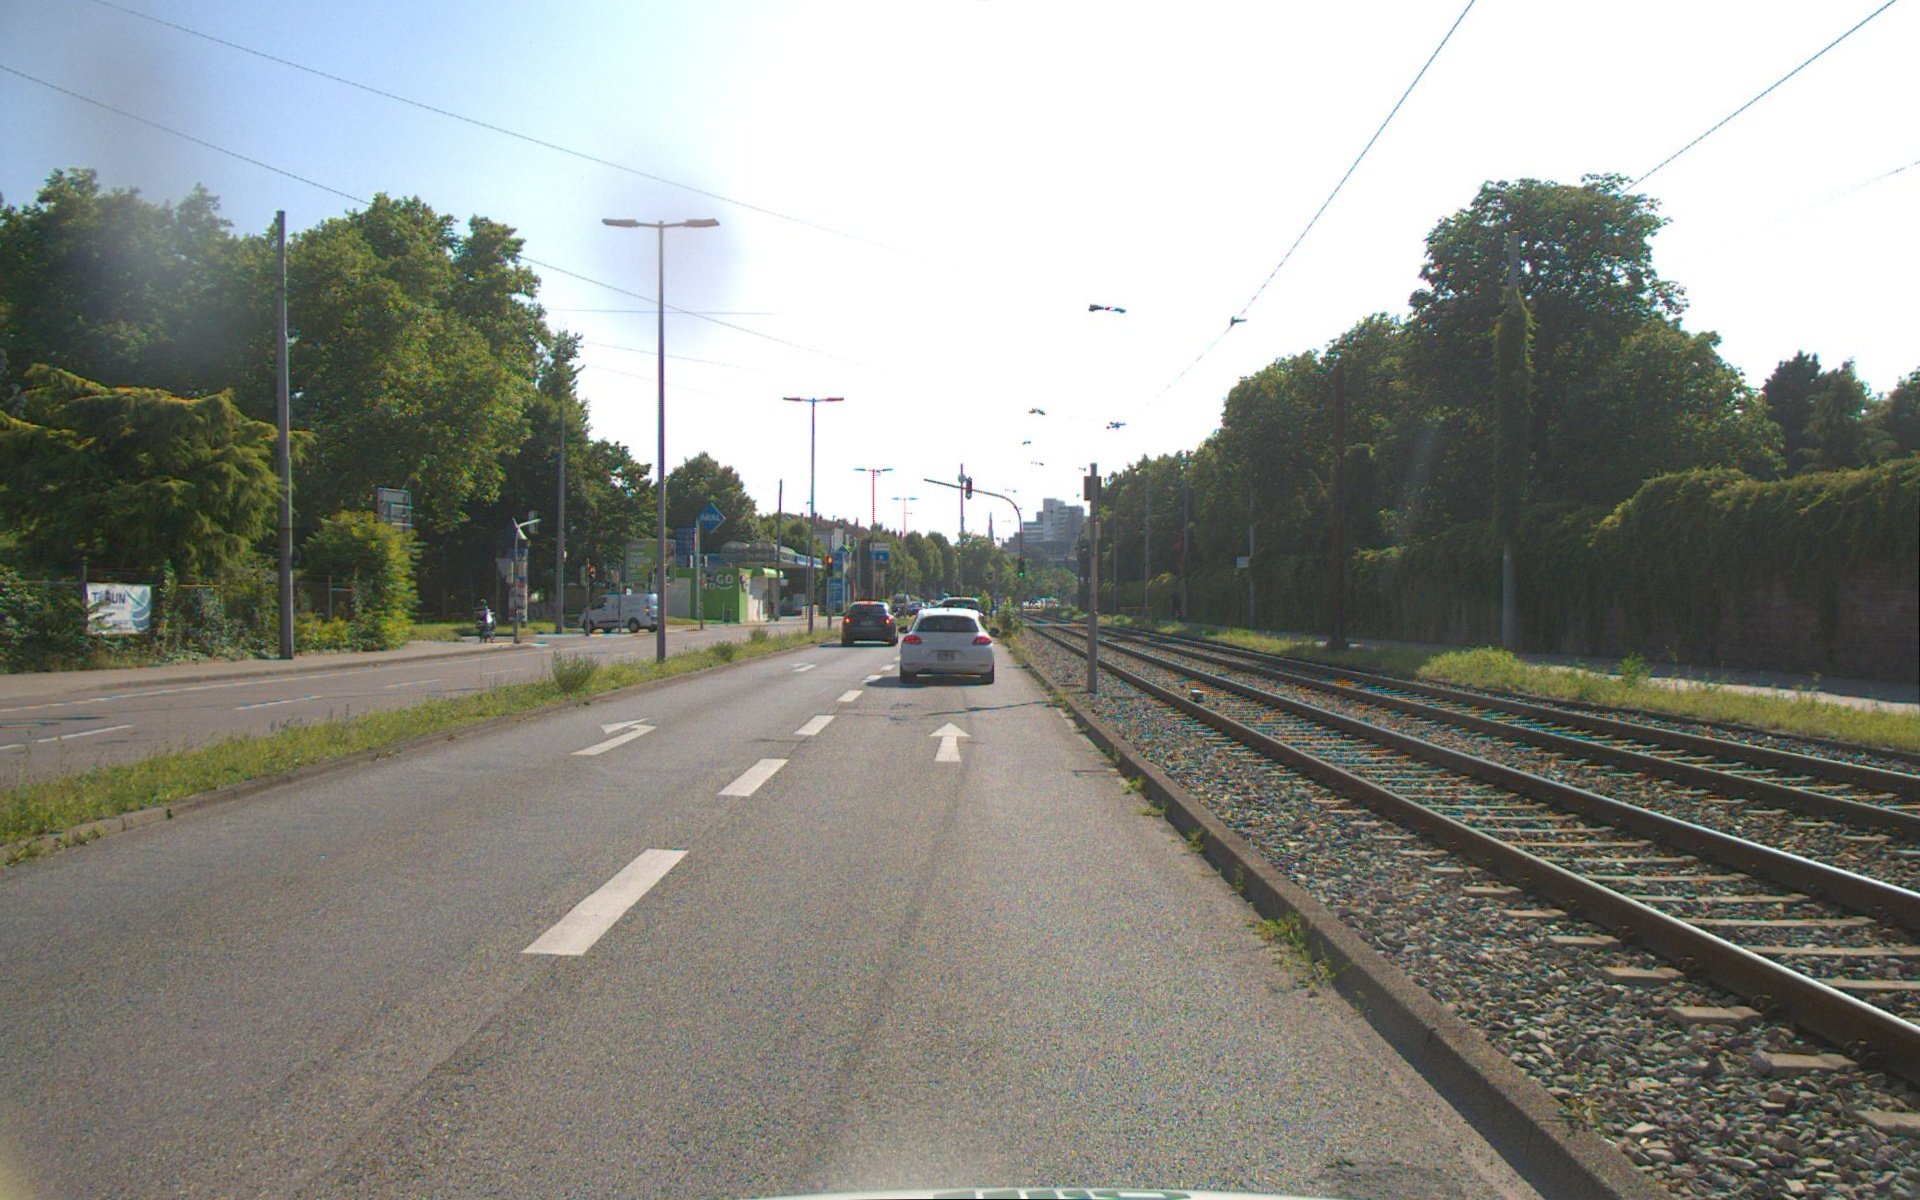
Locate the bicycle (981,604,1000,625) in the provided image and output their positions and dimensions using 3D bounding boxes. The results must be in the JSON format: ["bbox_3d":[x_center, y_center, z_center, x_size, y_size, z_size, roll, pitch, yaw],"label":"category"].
[{"bbox_3d":[1.741,0.847,94.919,0.629,1.174,1.938,-1,0,15],"label":"bicycle"}]

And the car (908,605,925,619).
[{"bbox_3d":[-4.475,1.244,172.089,1.619,1.420,4.134,0,0,1],"label":"car"}]

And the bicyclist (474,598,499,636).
[{"bbox_3d":[-18.721,0.669,65.429,0.648,1.478,1.051,0,0,4],"label":"bicyclist"}]

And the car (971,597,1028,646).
[{"bbox_3d":[1.346,0.728,57.435,1.690,1.620,3.599,1,0,-3],"label":"car"}]

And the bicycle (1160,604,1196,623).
[{"bbox_3d":[12.761,0.781,96.702,1.883,1.134,0.947,0,0,25],"label":"bicycle"}]

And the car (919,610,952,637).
[{"bbox_3d":[-1.456,1.409,99.213,1.712,1.512,3.602,1,0,3],"label":"car"}]

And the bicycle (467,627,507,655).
[{"bbox_3d":[-18.706,1.602,65.465,0.648,1.068,2.581,0,0,4],"label":"bicycle"}]

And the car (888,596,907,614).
[{"bbox_3d":[-8.461,0.639,224.423,1.951,2.418,4.541,-1,0,4],"label":"car"}]

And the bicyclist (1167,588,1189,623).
[{"bbox_3d":[12.740,0.334,96.710,1.012,2.028,0.947,0,0,25],"label":"bicyclist"}]

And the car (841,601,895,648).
[{"bbox_3d":[-3.147,0.805,56.800,1.725,1.511,4.642,1,0,-3],"label":"car"}]

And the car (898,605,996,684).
[{"bbox_3d":[-0.234,0.822,31.891,1.744,1.380,3.601,1,0,0],"label":"car"}]

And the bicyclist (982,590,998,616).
[{"bbox_3d":[1.739,0.184,94.950,0.629,1.440,1.013,-2,0,16],"label":"bicyclist"}]

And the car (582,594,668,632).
[{"bbox_3d":[-17.959,0.693,88.645,4.299,1.997,1.823,-1,-1,23],"label":"car"}]
